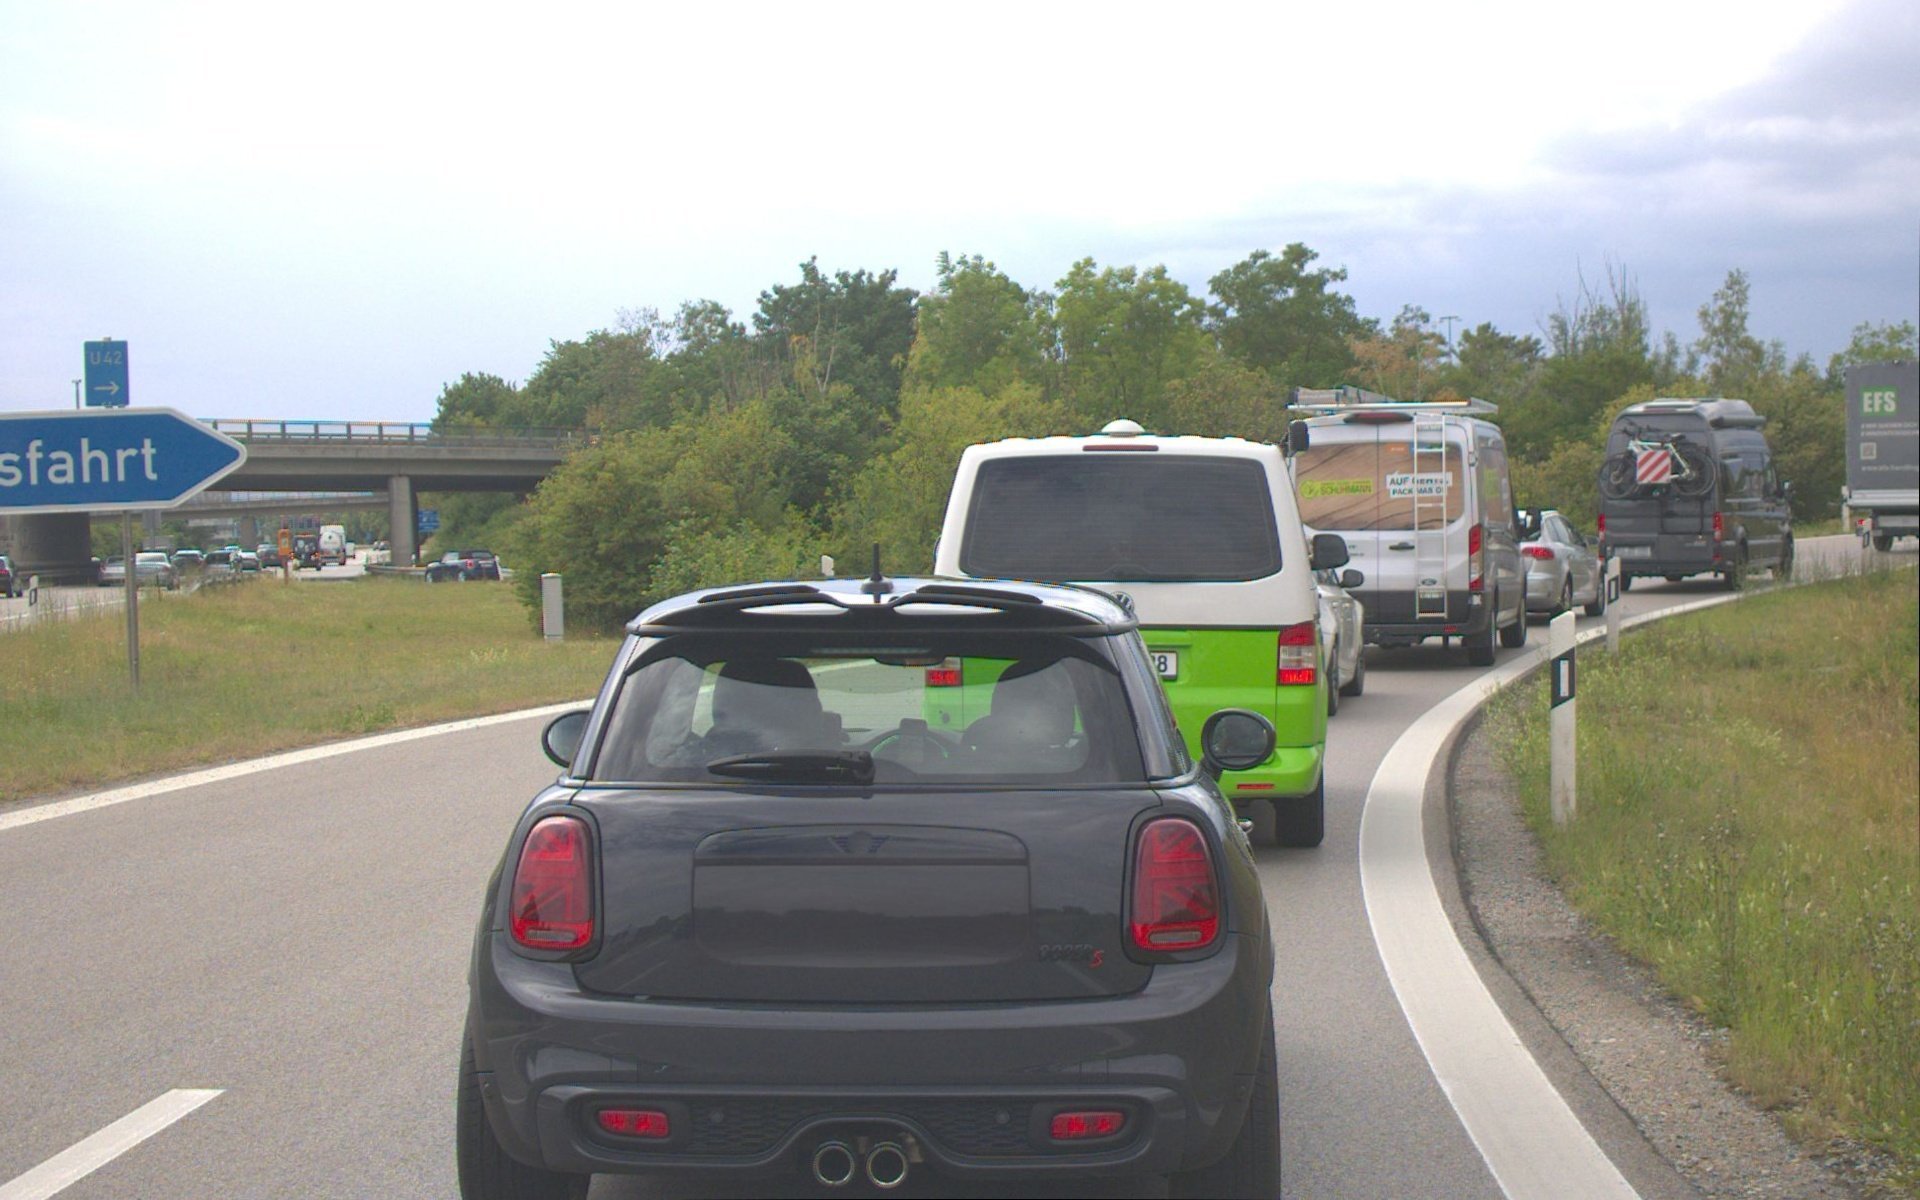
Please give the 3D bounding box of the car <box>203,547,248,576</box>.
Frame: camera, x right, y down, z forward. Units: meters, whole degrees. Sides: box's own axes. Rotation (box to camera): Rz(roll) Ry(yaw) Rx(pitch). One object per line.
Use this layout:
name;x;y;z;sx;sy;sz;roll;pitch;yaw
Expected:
car;-36.199;-1.894;169.472;1.779;1.394;4.030;-1;1;-6

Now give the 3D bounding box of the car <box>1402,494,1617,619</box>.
car;7.015;-0.566;43.611;1.868;1.504;3.996;0;1;22

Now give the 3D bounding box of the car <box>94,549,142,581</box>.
car;-37.659;-1.591;153.832;1.779;1.394;4.307;-1;1;-10

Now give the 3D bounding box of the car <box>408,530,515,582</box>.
car;-19.735;-1.758;136.097;3.996;2.007;1.995;1;0;40

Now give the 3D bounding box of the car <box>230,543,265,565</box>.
car;-53.405;-3.453;257.843;2.159;1.665;4.307;-1;1;-6

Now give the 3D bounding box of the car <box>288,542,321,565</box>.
car;-49.169;-3.479;257.916;2.095;1.665;4.307;-1;1;-6

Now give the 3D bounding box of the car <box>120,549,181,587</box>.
car;-30.740;-1.233;130.687;1.779;1.394;4.552;-1;1;-7

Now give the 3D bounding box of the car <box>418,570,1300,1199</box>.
car;-0.209;0.647;8.601;1.727;1.409;3.725;0;1;0

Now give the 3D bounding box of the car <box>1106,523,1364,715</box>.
car;2.233;0.107;27.108;1.763;1.394;3.724;-1;1;9

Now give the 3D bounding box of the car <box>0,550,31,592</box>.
car;-32.980;-0.993;117.535;1.779;1.394;4.307;-1;1;-7

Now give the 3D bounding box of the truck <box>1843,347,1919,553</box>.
truck;19.747;-2.891;68.501;2.233;3.893;6.004;1;0;34

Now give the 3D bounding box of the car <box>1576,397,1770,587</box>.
car;10.967;-1.647;52.690;2.107;2.786;3.995;1;2;24

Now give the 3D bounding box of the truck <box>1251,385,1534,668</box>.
truck;4.485;-0.770;34.942;2.180;2.649;5.105;0;2;15

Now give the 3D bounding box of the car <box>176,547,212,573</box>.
car;-43.264;-2.267;194.101;1.779;1.394;4.307;-1;1;-10

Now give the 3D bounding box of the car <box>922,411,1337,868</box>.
car;0.959;0.133;17.176;1.784;2.007;3.999;0;1;7
